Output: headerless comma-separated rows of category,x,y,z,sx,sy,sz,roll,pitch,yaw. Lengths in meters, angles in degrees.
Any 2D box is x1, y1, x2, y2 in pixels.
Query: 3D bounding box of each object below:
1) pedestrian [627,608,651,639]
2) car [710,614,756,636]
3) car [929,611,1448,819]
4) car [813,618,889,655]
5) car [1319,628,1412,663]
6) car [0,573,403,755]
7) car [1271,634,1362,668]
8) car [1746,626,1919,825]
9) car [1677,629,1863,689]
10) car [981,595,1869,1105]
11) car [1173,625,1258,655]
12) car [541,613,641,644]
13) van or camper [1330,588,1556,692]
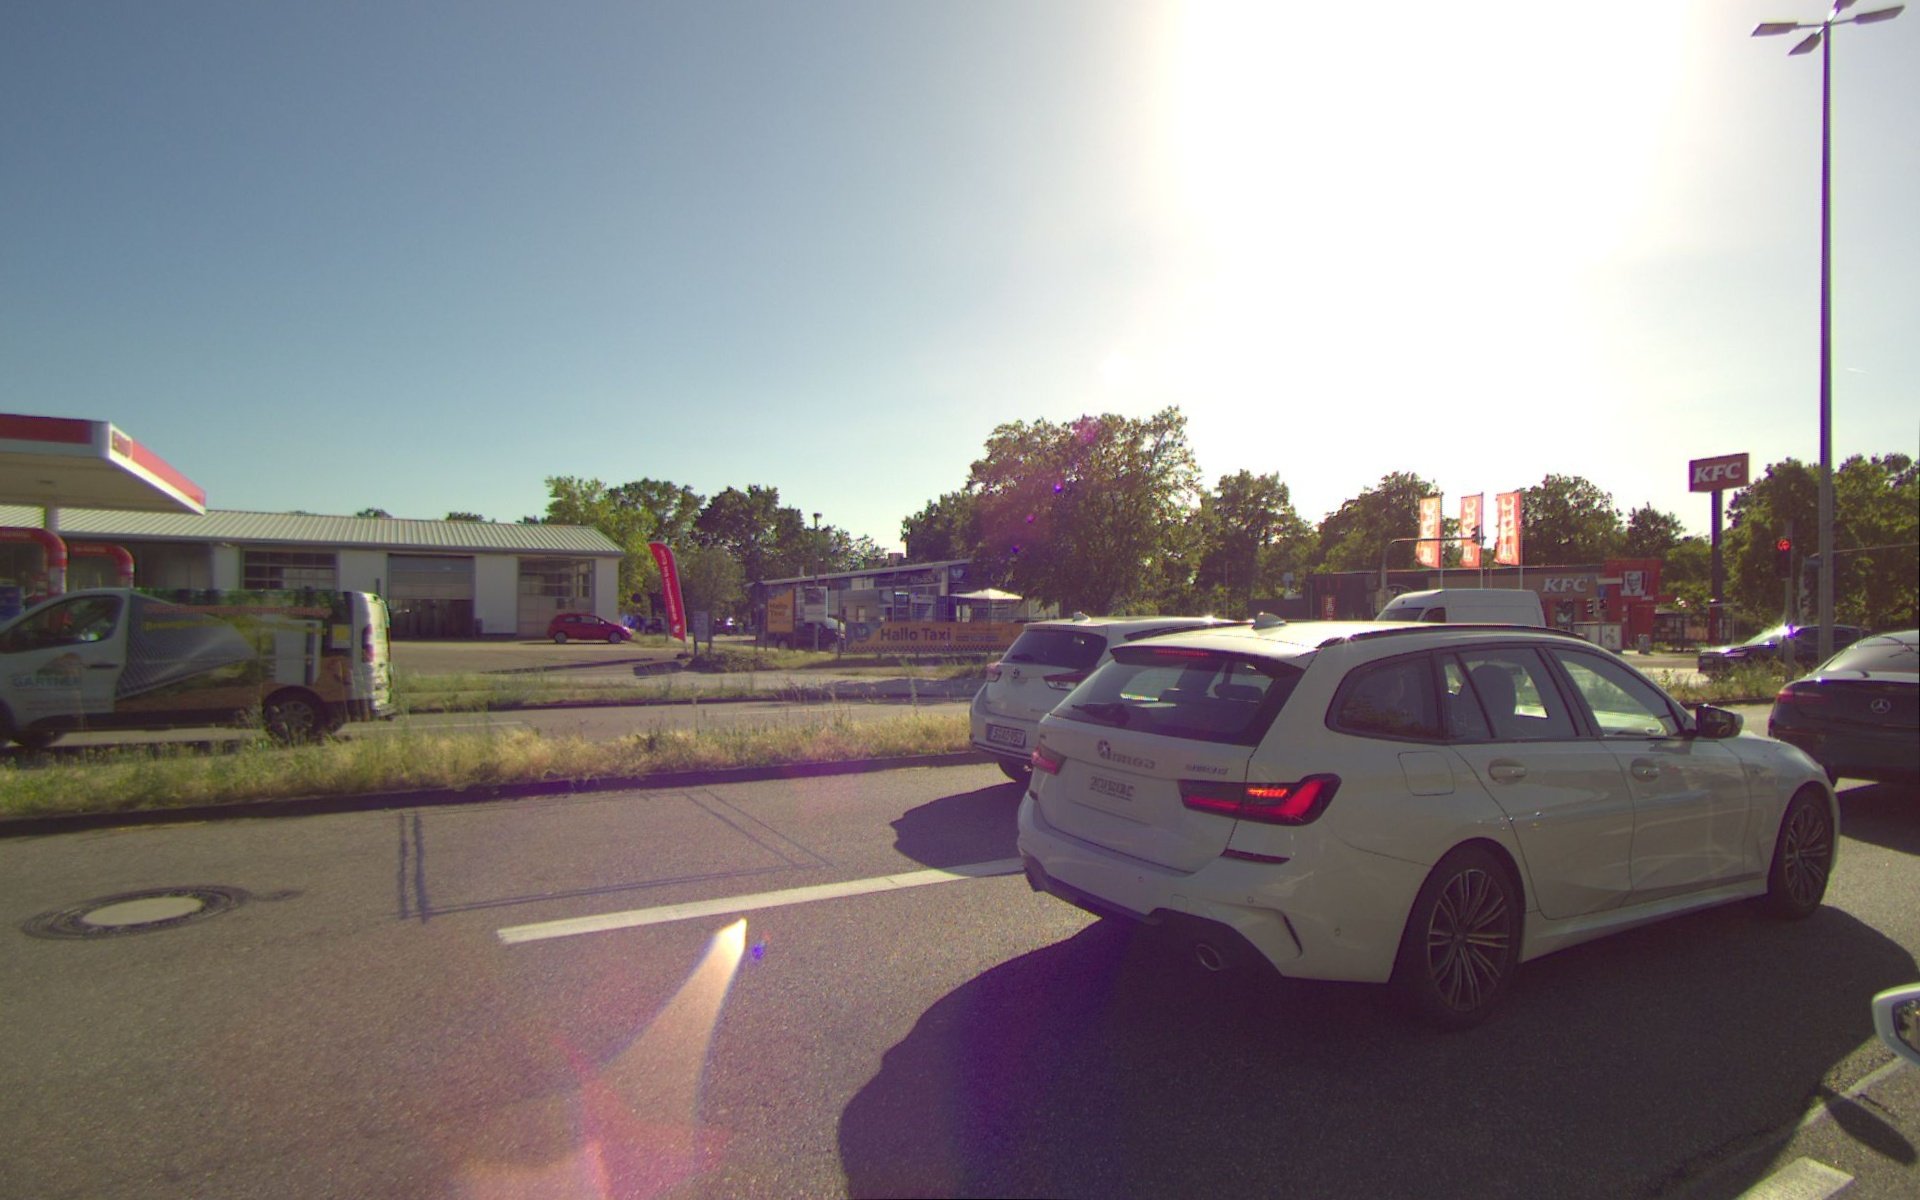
pedestrian,-18.463,1.337,57.742,1.087,1.787,1.150,1,-1,-30
car,-19.924,2.172,88.261,2.085,1.840,4.000,0,-1,20
car,2.075,0.850,8.874,4.349,1.448,1.850,1,-1,-28
car,-4.065,1.321,37.148,1.625,1.301,3.122,1,-1,-32
car,20.076,2.226,49.861,1.804,1.616,4.016,1,-1,-32
car,-10.021,0.791,12.708,4.955,2.040,1.990,1,-3,-23
car,17.030,2.406,48.170,1.801,1.448,4.022,1,-1,-27
car,8.810,0.963,8.630,4.409,1.433,1.760,1,-1,-30
car,24.136,1.741,29.982,4.535,1.675,1.995,1,-1,-14
car,2.432,0.795,4.909,4.409,1.529,1.760,1,-1,-30
car,13.797,2.126,54.528,1.840,1.449,4.700,0,0,-28
car,-18.187,1.410,49.471,4.486,1.458,1.741,1,-1,-26
van or camper,13.289,1.079,27.646,5.861,2.686,1.992,1,-1,-18
